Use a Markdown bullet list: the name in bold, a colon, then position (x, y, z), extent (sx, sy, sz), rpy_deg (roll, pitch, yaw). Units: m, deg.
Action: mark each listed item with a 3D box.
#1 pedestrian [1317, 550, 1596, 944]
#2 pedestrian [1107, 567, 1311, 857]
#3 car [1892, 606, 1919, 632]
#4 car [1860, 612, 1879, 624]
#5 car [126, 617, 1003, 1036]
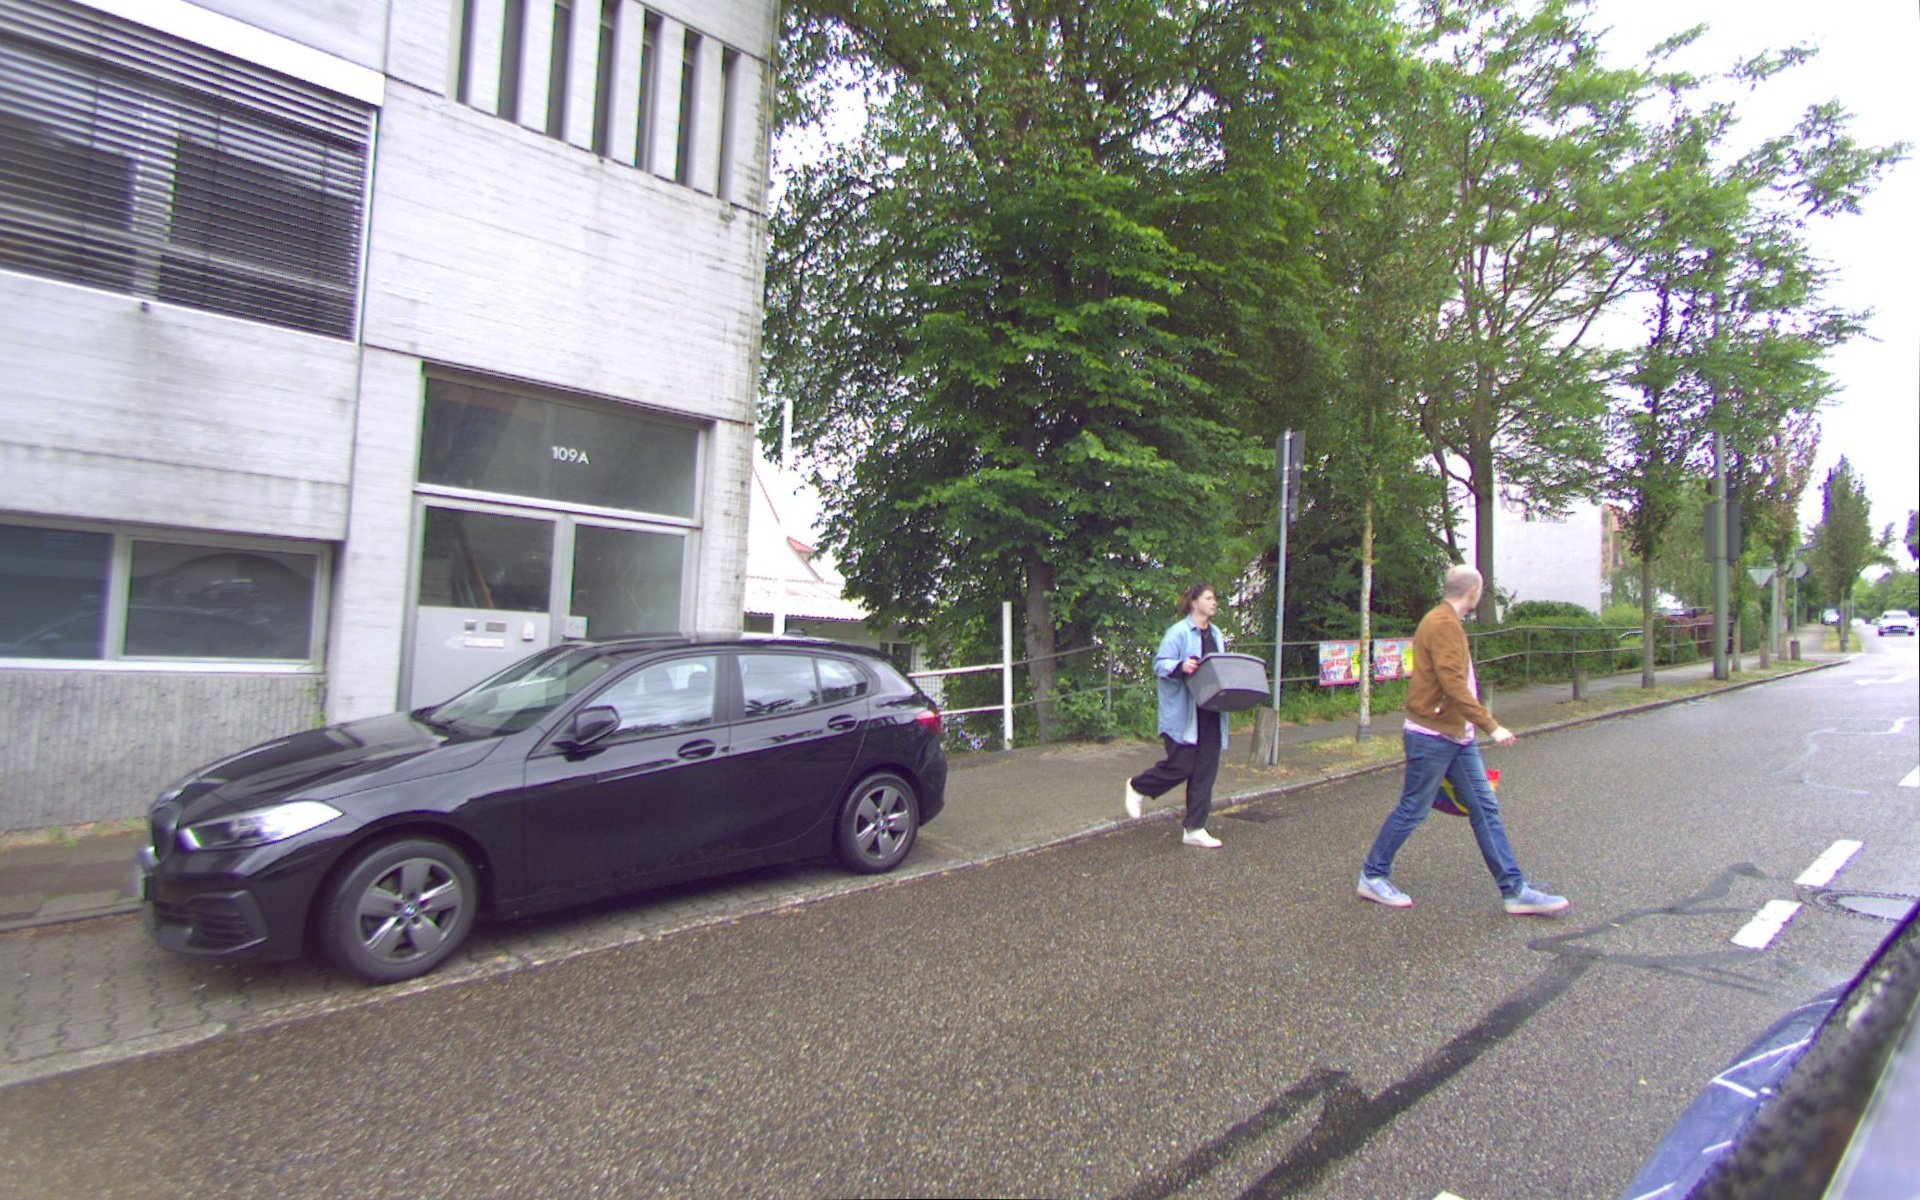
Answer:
- **pedestrian**: position (2.583, 0.657, 5.307), extent (0.810, 1.804, 1.071), rpy_deg (0, 1, -42)
- **pedestrian**: position (1.686, 0.704, 6.984), extent (0.808, 1.805, 1.074), rpy_deg (-1, -2, -27)
- **car**: position (64.559, 1.274, 68.688), extent (1.830, 1.638, 4.282), rpy_deg (-1, 0, 44)
- **car**: position (147.591, 2.892, 164.219), extent (4.166, 1.741, 1.889), rpy_deg (-1, 2, -43)
- **car**: position (-1.988, 0.860, 5.916), extent (4.368, 1.453, 1.996), rpy_deg (0, 0, -43)
